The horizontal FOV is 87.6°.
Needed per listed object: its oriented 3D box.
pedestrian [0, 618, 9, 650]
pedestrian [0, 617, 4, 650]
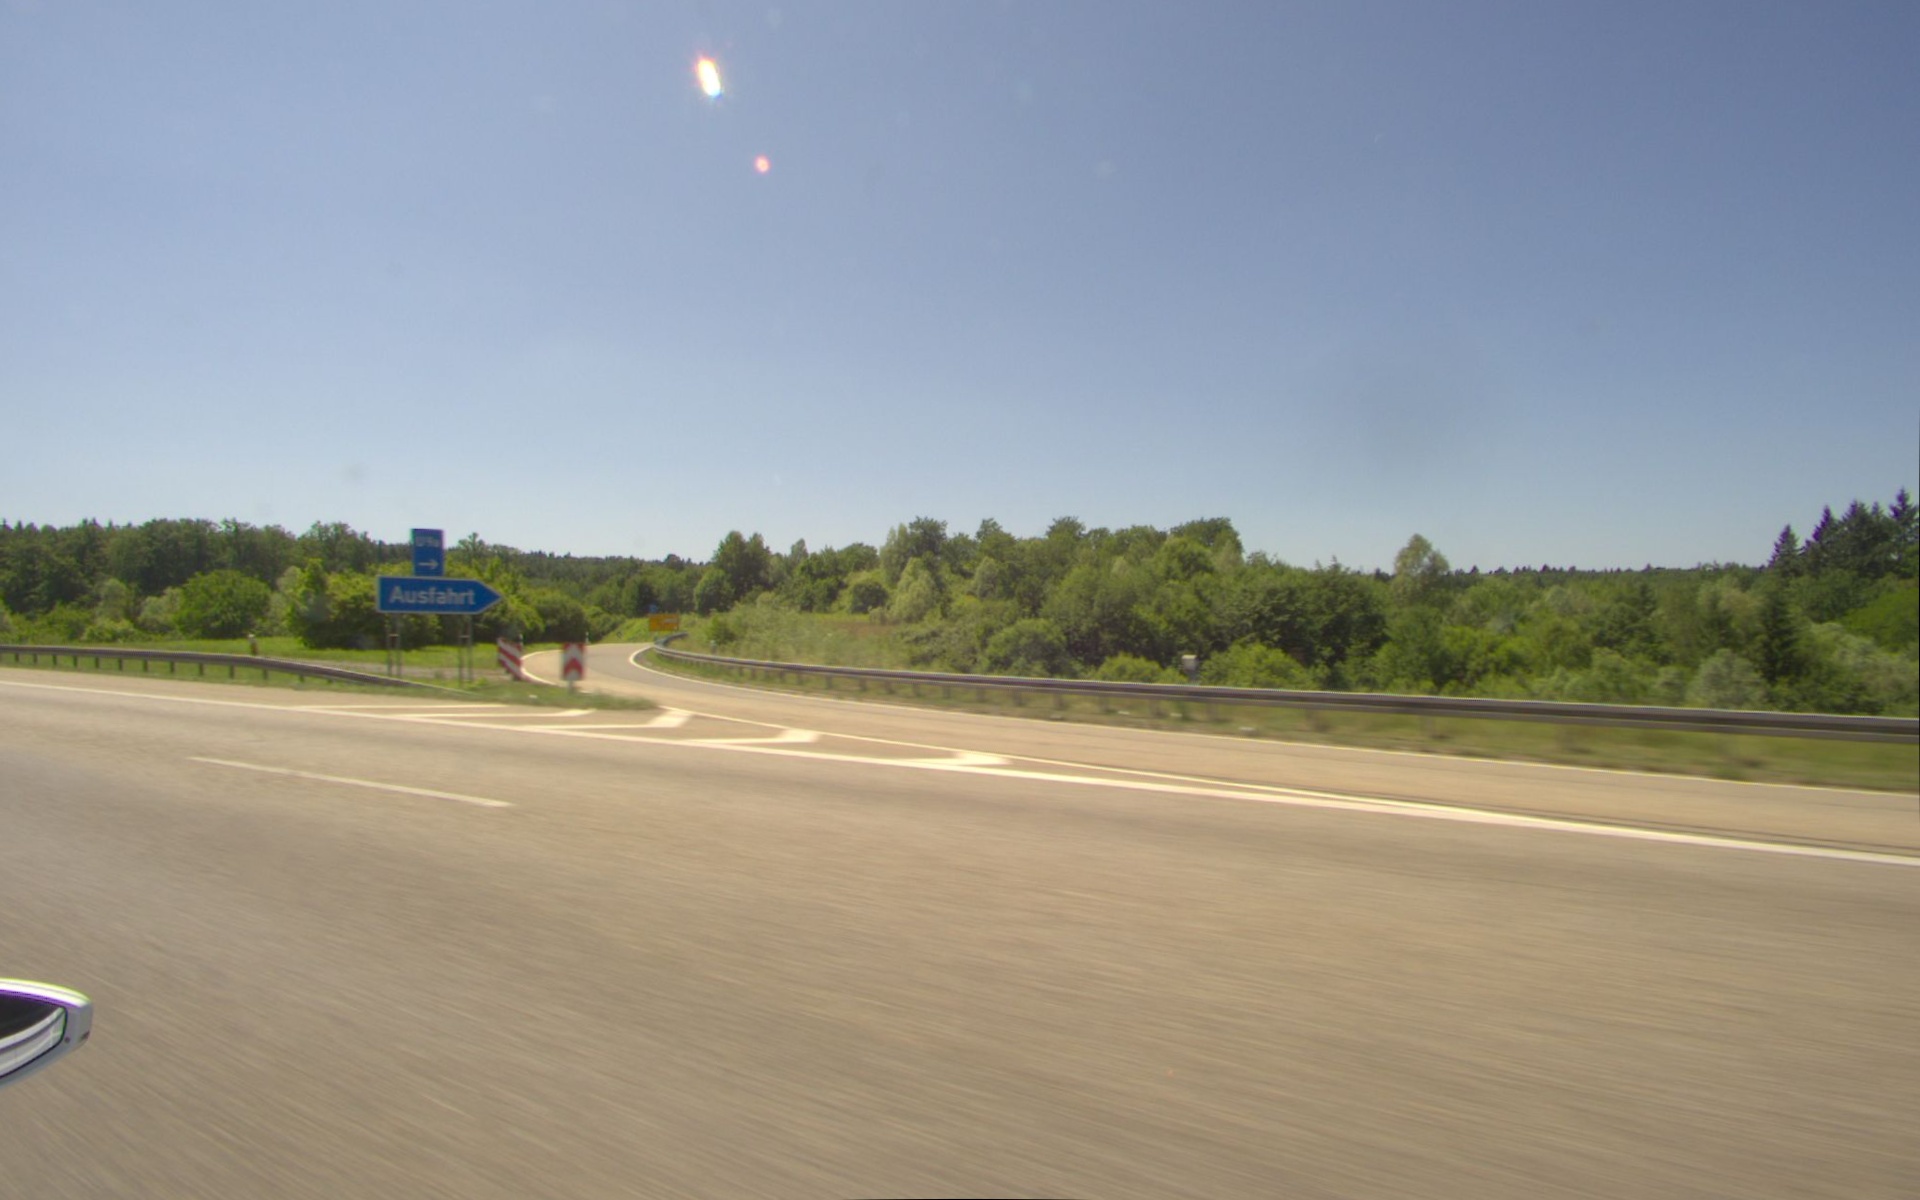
[{"bbox_3d":[-63.640,2.226,66.318,0.915,2.106,0.687,-1,-2,33],"label":"pedestrian"},{"bbox_3d":[-62.151,2.136,64.392,0.915,2.106,0.687,-1,-2,33],"label":"pedestrian"}]
